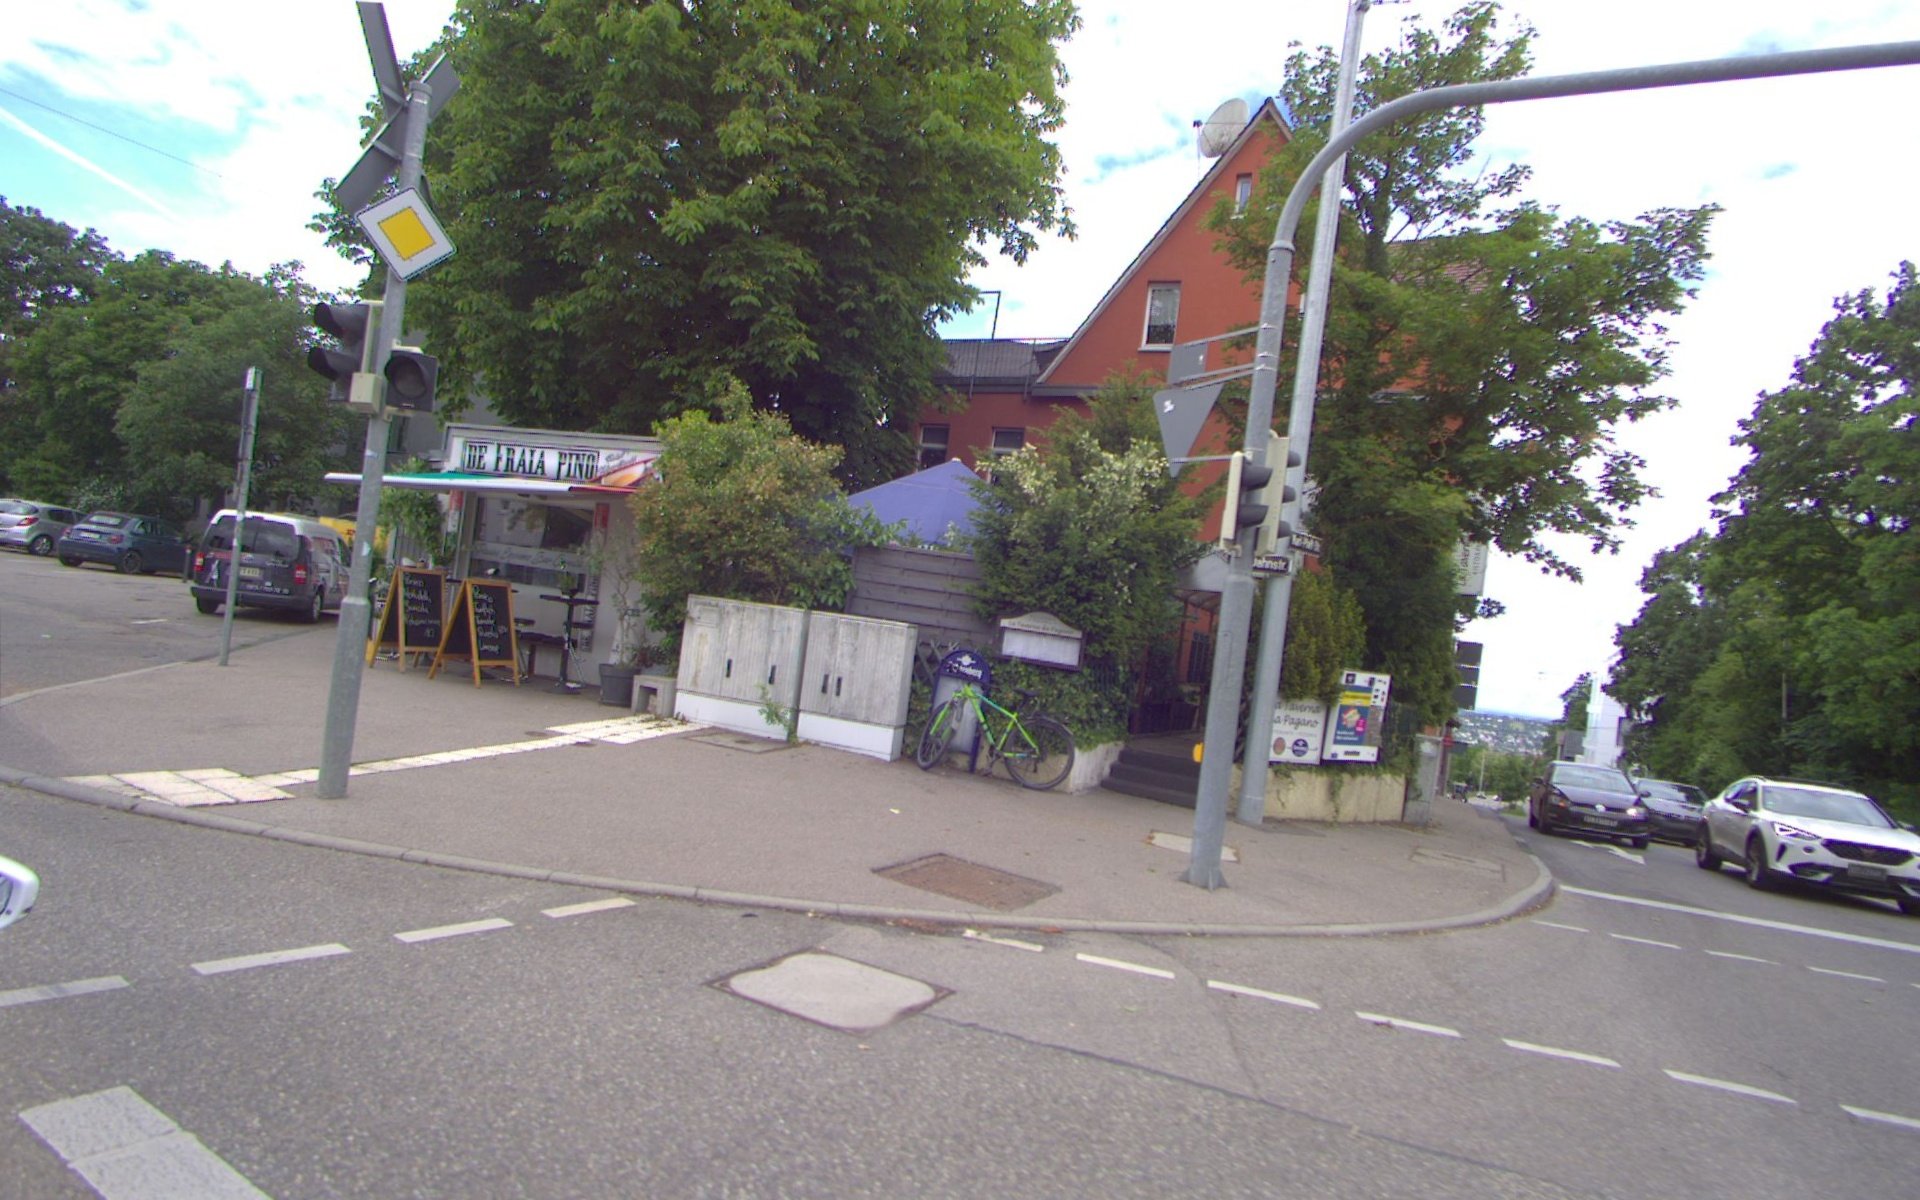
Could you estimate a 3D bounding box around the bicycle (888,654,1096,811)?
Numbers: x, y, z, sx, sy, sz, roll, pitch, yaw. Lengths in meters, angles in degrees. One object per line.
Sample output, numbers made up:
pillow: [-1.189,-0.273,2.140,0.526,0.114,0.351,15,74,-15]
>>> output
bicycle: [0.313,1.293,10.079,1.843,1.152,0.550,10,0,20]

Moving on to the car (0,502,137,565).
car: [-25.998,-1.903,28.931,1.519,1.394,3.518,9,-1,2]

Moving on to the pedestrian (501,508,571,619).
pedestrian: [-7.317,-0.625,17.357,0.667,1.781,0.684,9,2,38]

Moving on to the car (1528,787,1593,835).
car: [26.598,9.308,44.666,1.965,1.568,4.005,6,-5,26]

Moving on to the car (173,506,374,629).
car: [-12.550,-0.569,18.756,1.826,1.769,4.674,8,-1,-20]

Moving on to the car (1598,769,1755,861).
car: [16.235,4.809,23.059,1.964,1.478,4.526,6,-5,25]

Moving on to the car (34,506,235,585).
car: [-21.609,-1.353,26.584,1.845,1.494,4.003,7,-2,0]

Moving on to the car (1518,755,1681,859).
car: [12.556,3.989,20.049,1.964,1.478,4.526,6,-5,25]

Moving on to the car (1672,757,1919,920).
car: [11.848,3.197,14.024,1.963,1.479,4.523,7,-3,22]

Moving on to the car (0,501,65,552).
car: [-30.355,-2.402,31.263,1.561,1.453,3.651,6,0,5]
